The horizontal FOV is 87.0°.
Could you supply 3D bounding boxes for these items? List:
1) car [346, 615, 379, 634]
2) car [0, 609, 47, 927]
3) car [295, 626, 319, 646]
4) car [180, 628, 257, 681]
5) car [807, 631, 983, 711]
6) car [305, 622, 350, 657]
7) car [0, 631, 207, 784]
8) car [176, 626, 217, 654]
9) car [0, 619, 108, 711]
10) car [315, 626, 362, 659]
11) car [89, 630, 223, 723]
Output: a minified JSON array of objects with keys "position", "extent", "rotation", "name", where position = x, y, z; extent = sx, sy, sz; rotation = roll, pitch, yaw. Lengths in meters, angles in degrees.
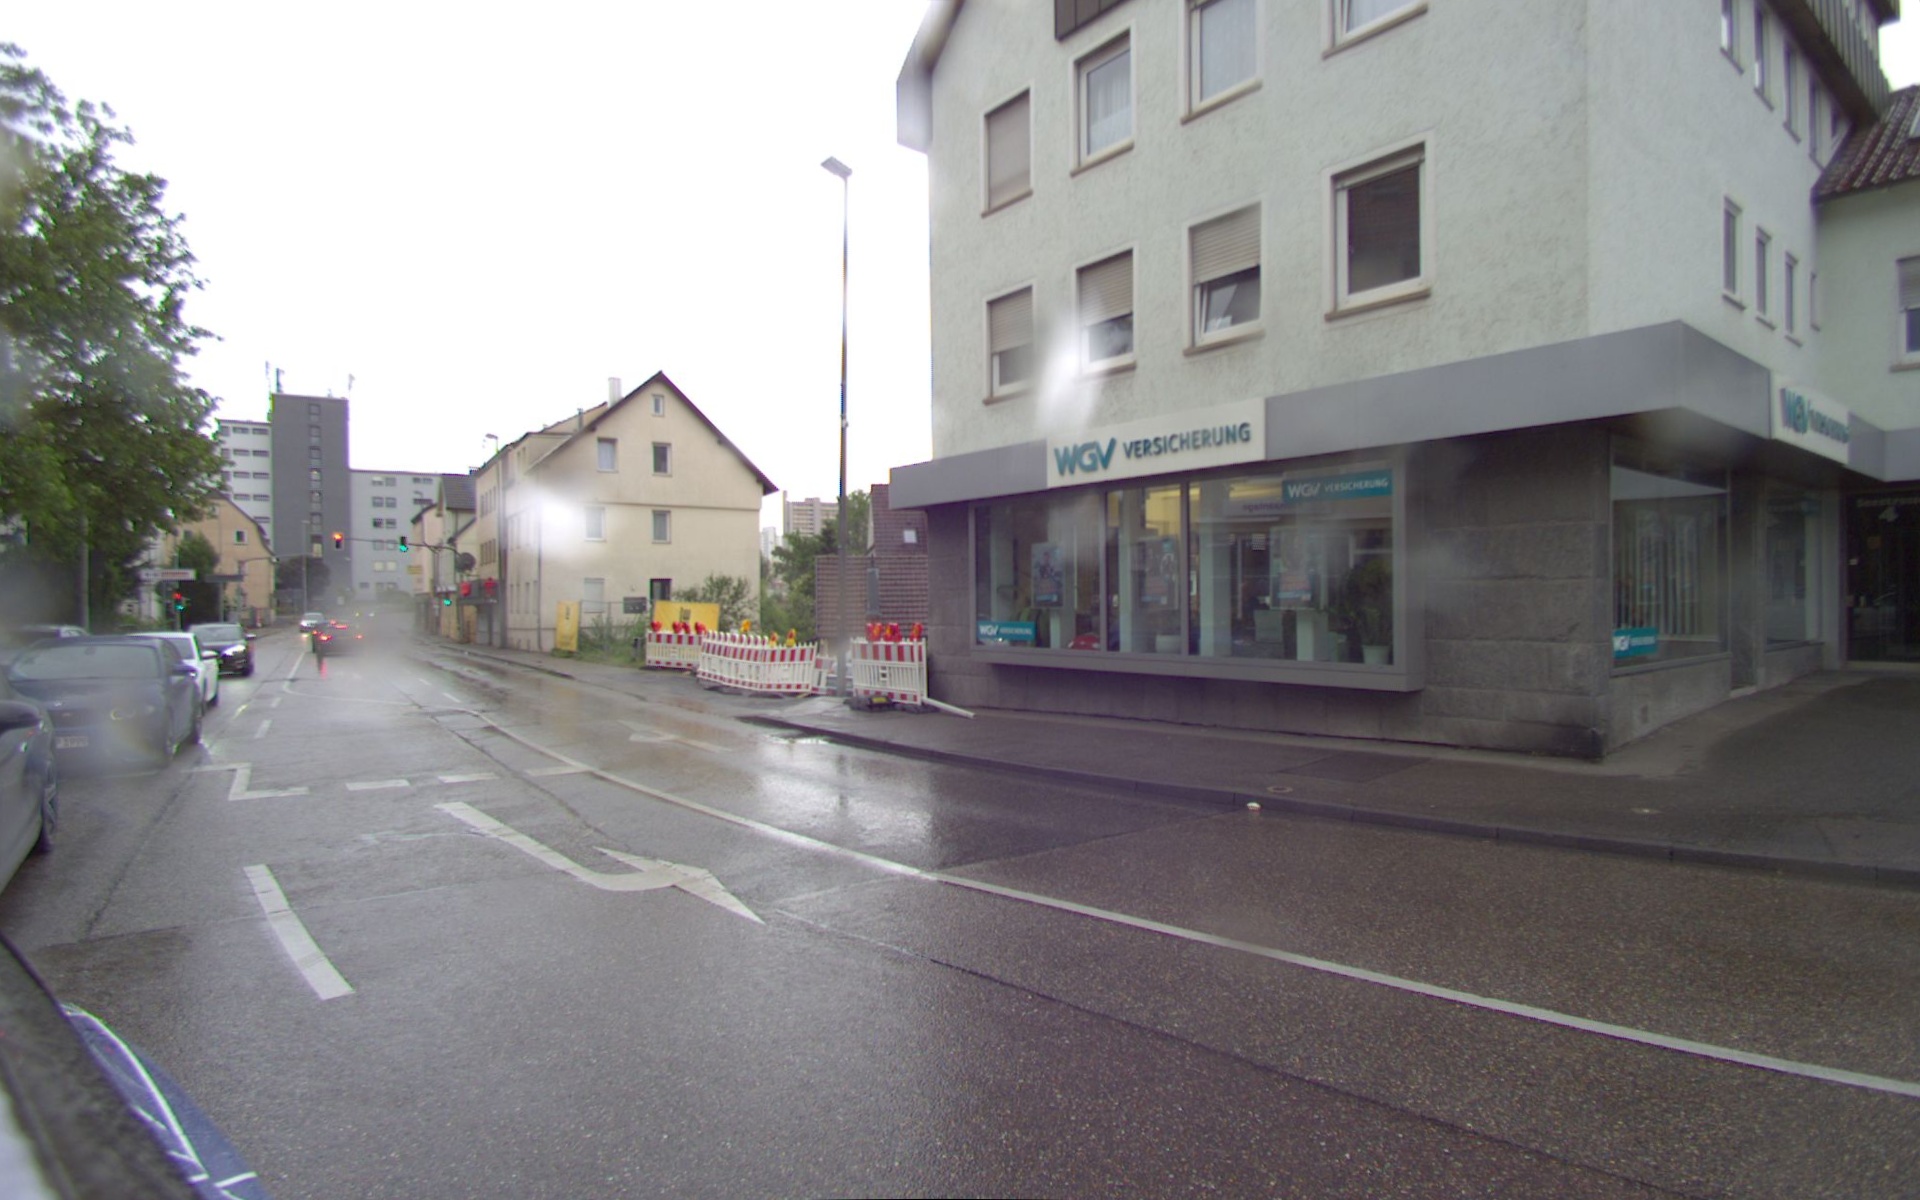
[{"position":[-62.021,2.535,105.171],"extent":[1.765,1.866,3.844],"rotation":[-1,-1,-12],"name":"car"},{"position":[-5.762,0.859,4.822],"extent":[1.792,1.583,4.284],"rotation":[-1,-1,-38],"name":"car"},{"position":[-53.774,2.930,83.396],"extent":[1.589,1.515,3.728],"rotation":[-2,0,-32],"name":"car"},{"position":[-22.698,1.614,31.089],"extent":[1.659,1.472,4.011],"rotation":[-1,-1,-33],"name":"car"},{"position":[-1.343,1.569,21.756],"extent":[3.456,1.401,1.653],"rotation":[10,-10,-41],"name":"car"},{"position":[-32.041,1.981,51.241],"extent":[1.791,1.657,4.287],"rotation":[-1,-1,-34],"name":"car"},{"position":[-9.705,1.074,11.447],"extent":[1.615,1.443,3.816],"rotation":[1,-2,-33],"name":"car"},{"position":[-48.689,2.524,64.595],"extent":[1.791,1.657,4.287],"rotation":[-1,-1,-34],"name":"car"},{"position":[-20.098,1.335,21.746],"extent":[1.904,1.794,4.748],"rotation":[0,-2,-30],"name":"car"},{"position":[-28.242,1.910,45.972],"extent":[1.684,1.394,3.679],"rotation":[-1,-1,-33],"name":"car"},{"position":[-14.403,1.285,18.308],"extent":[1.660,1.432,4.010],"rotation":[-1,-1,-35],"name":"car"}]
